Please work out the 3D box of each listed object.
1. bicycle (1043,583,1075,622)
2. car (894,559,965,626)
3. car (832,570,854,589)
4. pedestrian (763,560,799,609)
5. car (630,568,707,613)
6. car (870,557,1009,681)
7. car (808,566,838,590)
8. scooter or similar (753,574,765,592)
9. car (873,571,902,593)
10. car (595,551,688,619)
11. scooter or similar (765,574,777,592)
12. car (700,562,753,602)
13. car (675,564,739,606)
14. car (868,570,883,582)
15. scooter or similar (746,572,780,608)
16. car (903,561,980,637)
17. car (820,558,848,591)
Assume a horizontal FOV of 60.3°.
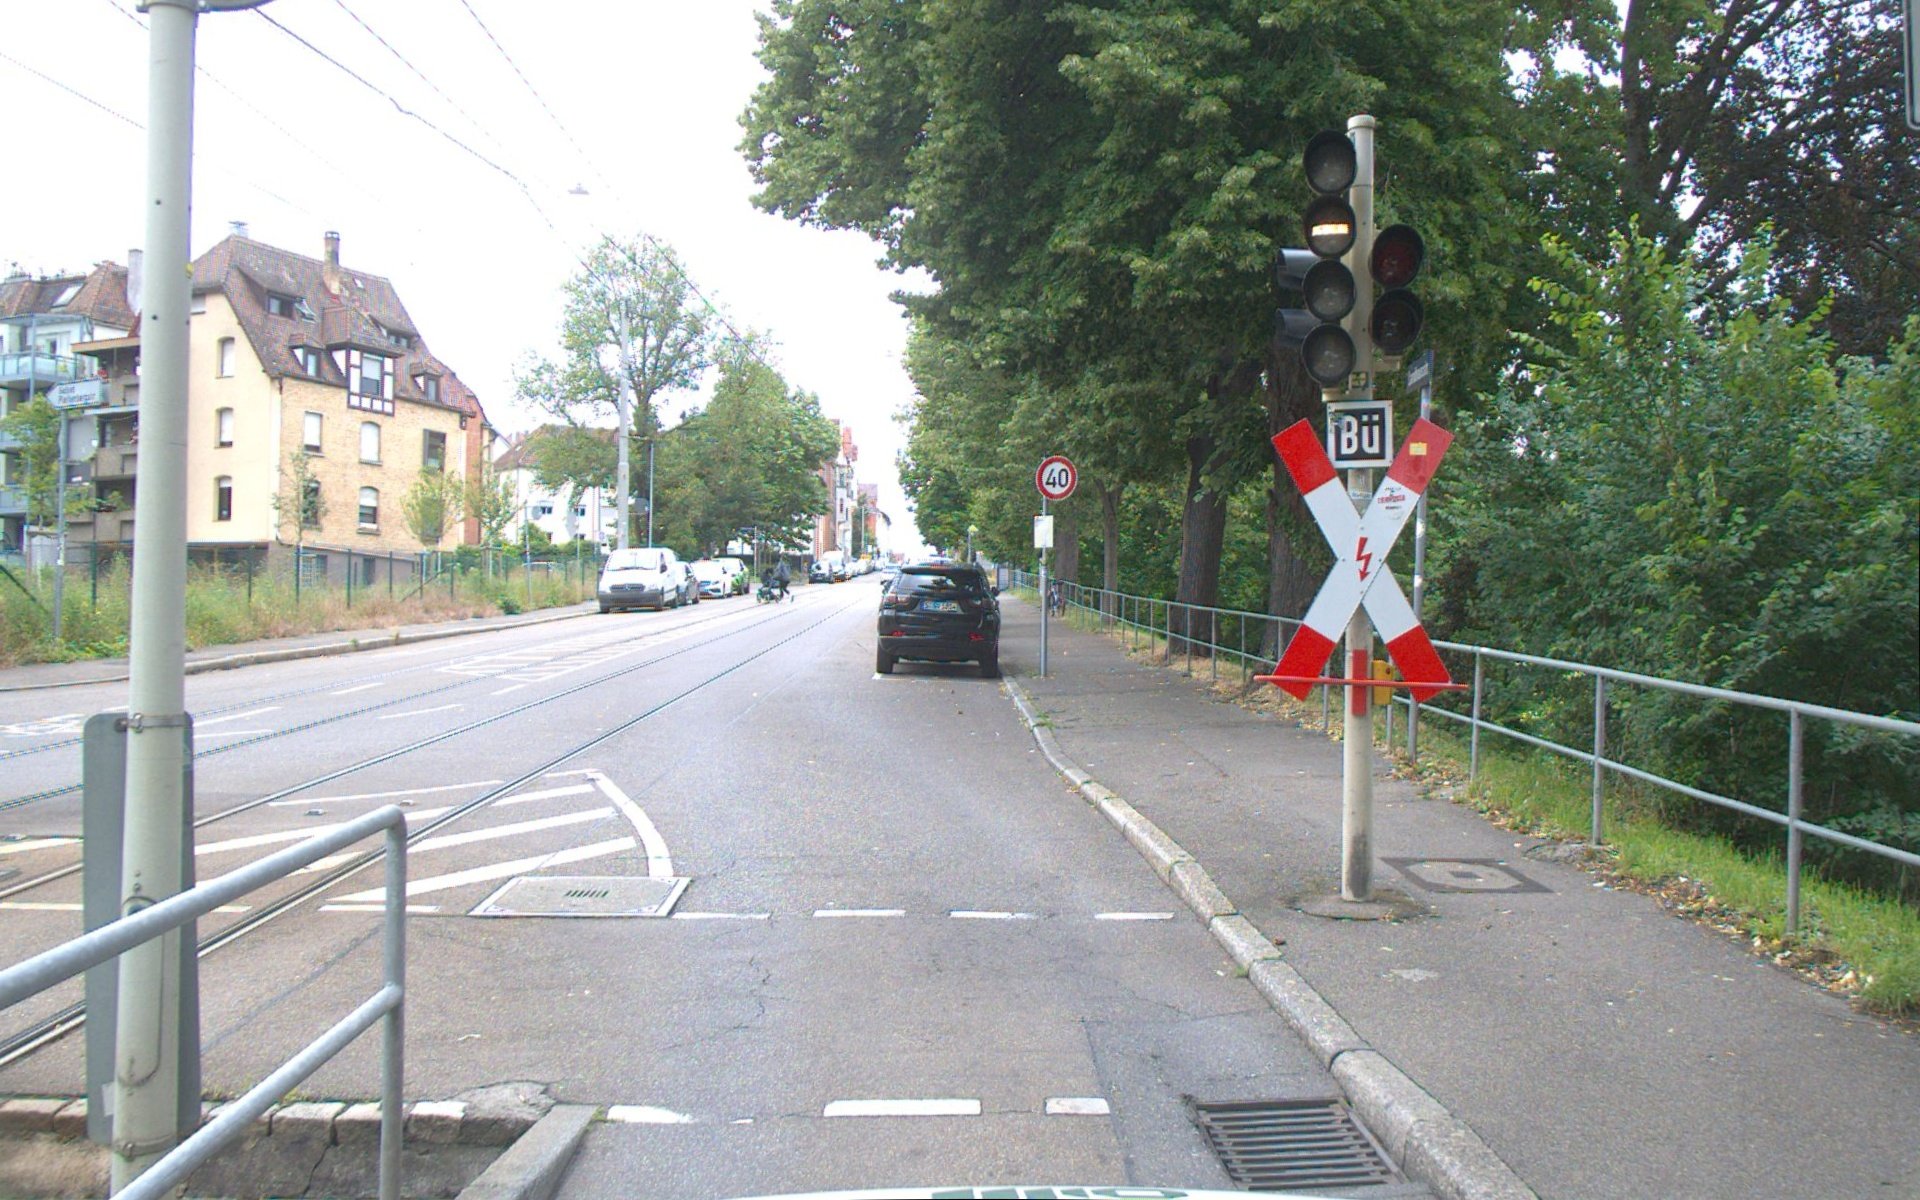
[{"bbox_3d":[2.626,0.056,44.023,0.419,0.993,1.790,1,0,-10],"label":"bicycle"},{"bbox_3d":[-0.825,-0.247,46.765,1.839,1.707,5.063,3,1,0],"label":"car"},{"bbox_3d":[-11.048,-1.919,155.847,1.954,1.628,4.310,1,0,-3],"label":"car"},{"bbox_3d":[-6.114,-0.525,56.620,0.898,1.657,0.804,1,0,36],"label":"pedestrian"},{"bbox_3d":[-9.857,-0.348,56.171,1.857,1.457,4.511,-1,1,-1],"label":"car"},{"bbox_3d":[-0.264,0.223,25.010,1.865,1.643,4.600,2,1,0],"label":"car"},{"bbox_3d":[-10.809,-1.701,131.044,1.952,1.840,4.000,1,0,1],"label":"car"},{"bbox_3d":[-15.274,-1.294,125.948,0.677,1.362,1.639,1,0,0],"label":"scooter or similar"},{"bbox_3d":[-5.185,-1.281,119.292,1.953,1.525,4.311,1,0,-1],"label":"car"},{"bbox_3d":[-9.701,-0.436,50.746,1.995,1.914,4.883,-2,0,-2],"label":"car"},{"bbox_3d":[-14.426,-1.275,126.050,0.677,1.362,1.639,1,0,0],"label":"scooter or similar"},{"bbox_3d":[-9.886,-0.769,70.307,1.688,1.607,4.180,-1,1,-1],"label":"car"},{"bbox_3d":[-9.877,-0.604,64.803,1.846,1.552,4.663,-1,1,-1],"label":"car"},{"bbox_3d":[-11.730,-3.287,228.881,1.953,1.629,3.999,1,0,-1],"label":"car"},{"bbox_3d":[-6.787,-0.342,57.108,0.822,1.217,0.804,1,0,36],"label":"scooter or similar"},{"bbox_3d":[-0.506,-0.056,40.746,1.692,1.659,4.087,4,1,-2],"label":"car"},{"bbox_3d":[-11.066,-2.244,145.530,2.186,2.812,5.796,1,0,-3],"label":"car"}]
